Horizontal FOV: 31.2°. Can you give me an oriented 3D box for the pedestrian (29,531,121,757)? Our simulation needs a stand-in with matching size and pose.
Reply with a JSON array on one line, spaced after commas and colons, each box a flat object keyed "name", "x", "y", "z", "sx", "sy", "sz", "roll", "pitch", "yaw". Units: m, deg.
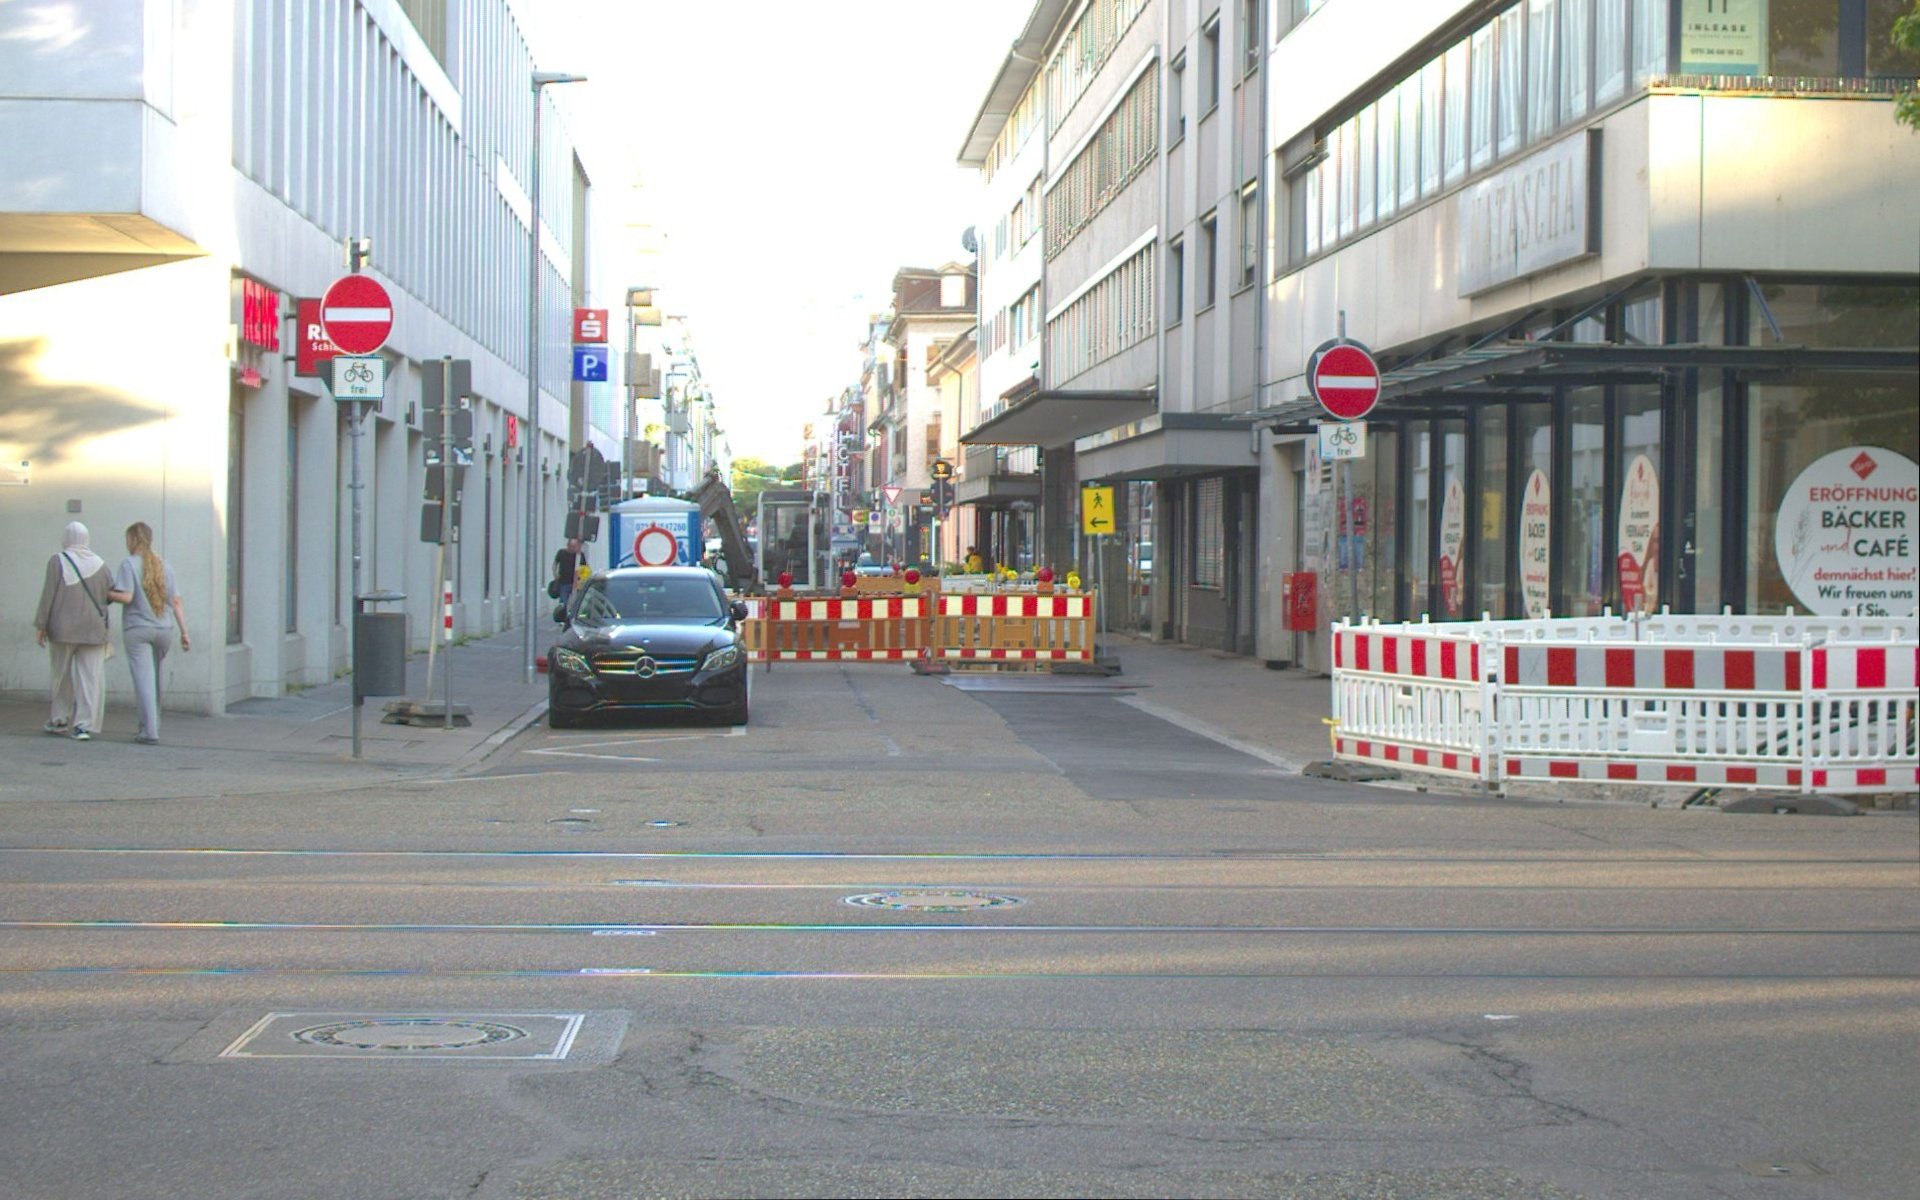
[{"name": "pedestrian", "x": -6.506, "y": 0.306, "z": 25.258, "sx": 0.609, "sy": 1.622, "sz": 0.873, "roll": -1, "pitch": 1, "yaw": -16}]

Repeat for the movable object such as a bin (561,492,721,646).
[{"name": "movable object such as a bin", "x": -4.325, "y": -0.441, "z": 47.157, "sx": 1.993, "sy": 2.007, "sz": 4.001, "roll": 0, "pitch": 1, "yaw": -3}]

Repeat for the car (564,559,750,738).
[{"name": "car", "x": -2.850, "y": 0.408, "z": 31.972, "sx": 1.629, "sy": 1.545, "sz": 3.143, "roll": 0, "pitch": 1, "yaw": -6}]

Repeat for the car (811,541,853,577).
[{"name": "car", "x": -6.397, "y": -2.044, "z": 171.290, "sx": 1.993, "sy": 1.770, "sz": 4.001, "roll": 0, "pitch": 1, "yaw": -3}]

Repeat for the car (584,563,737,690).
[{"name": "car", "x": -3.693, "y": 0.298, "z": 42.007, "sx": 1.789, "sy": 1.446, "sz": 3.143, "roll": 0, "pitch": 1, "yaw": -6}]

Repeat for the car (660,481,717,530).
[{"name": "car", "x": -9.962, "y": -3.469, "z": 126.473, "sx": 1.993, "sy": 1.770, "sz": 4.001, "roll": 0, "pitch": 1, "yaw": -3}]

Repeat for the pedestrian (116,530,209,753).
[{"name": "pedestrian", "x": -5.949, "y": 0.293, "z": 25.625, "sx": 0.609, "sy": 1.622, "sz": 0.873, "roll": -1, "pitch": 1, "yaw": -16}]

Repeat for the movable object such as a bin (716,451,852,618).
[{"name": "movable object such as a bin", "x": -2.938, "y": -1.089, "z": 57.155, "sx": 2.156, "sy": 2.654, "sz": 4.573, "roll": 0, "pitch": 1, "yaw": -3}]

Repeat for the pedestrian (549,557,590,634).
[{"name": "pedestrian", "x": -7.503, "y": -0.085, "z": 66.051, "sx": 0.716, "sy": 1.459, "sz": 0.525, "roll": 0, "pitch": 1, "yaw": -1}]

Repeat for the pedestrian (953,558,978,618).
[{"name": "pedestrian", "x": 0.134, "y": -0.292, "z": 83.993, "sx": 0.524, "sy": 1.459, "sz": 0.718, "roll": 1, "pitch": 1, "yaw": 5}]
